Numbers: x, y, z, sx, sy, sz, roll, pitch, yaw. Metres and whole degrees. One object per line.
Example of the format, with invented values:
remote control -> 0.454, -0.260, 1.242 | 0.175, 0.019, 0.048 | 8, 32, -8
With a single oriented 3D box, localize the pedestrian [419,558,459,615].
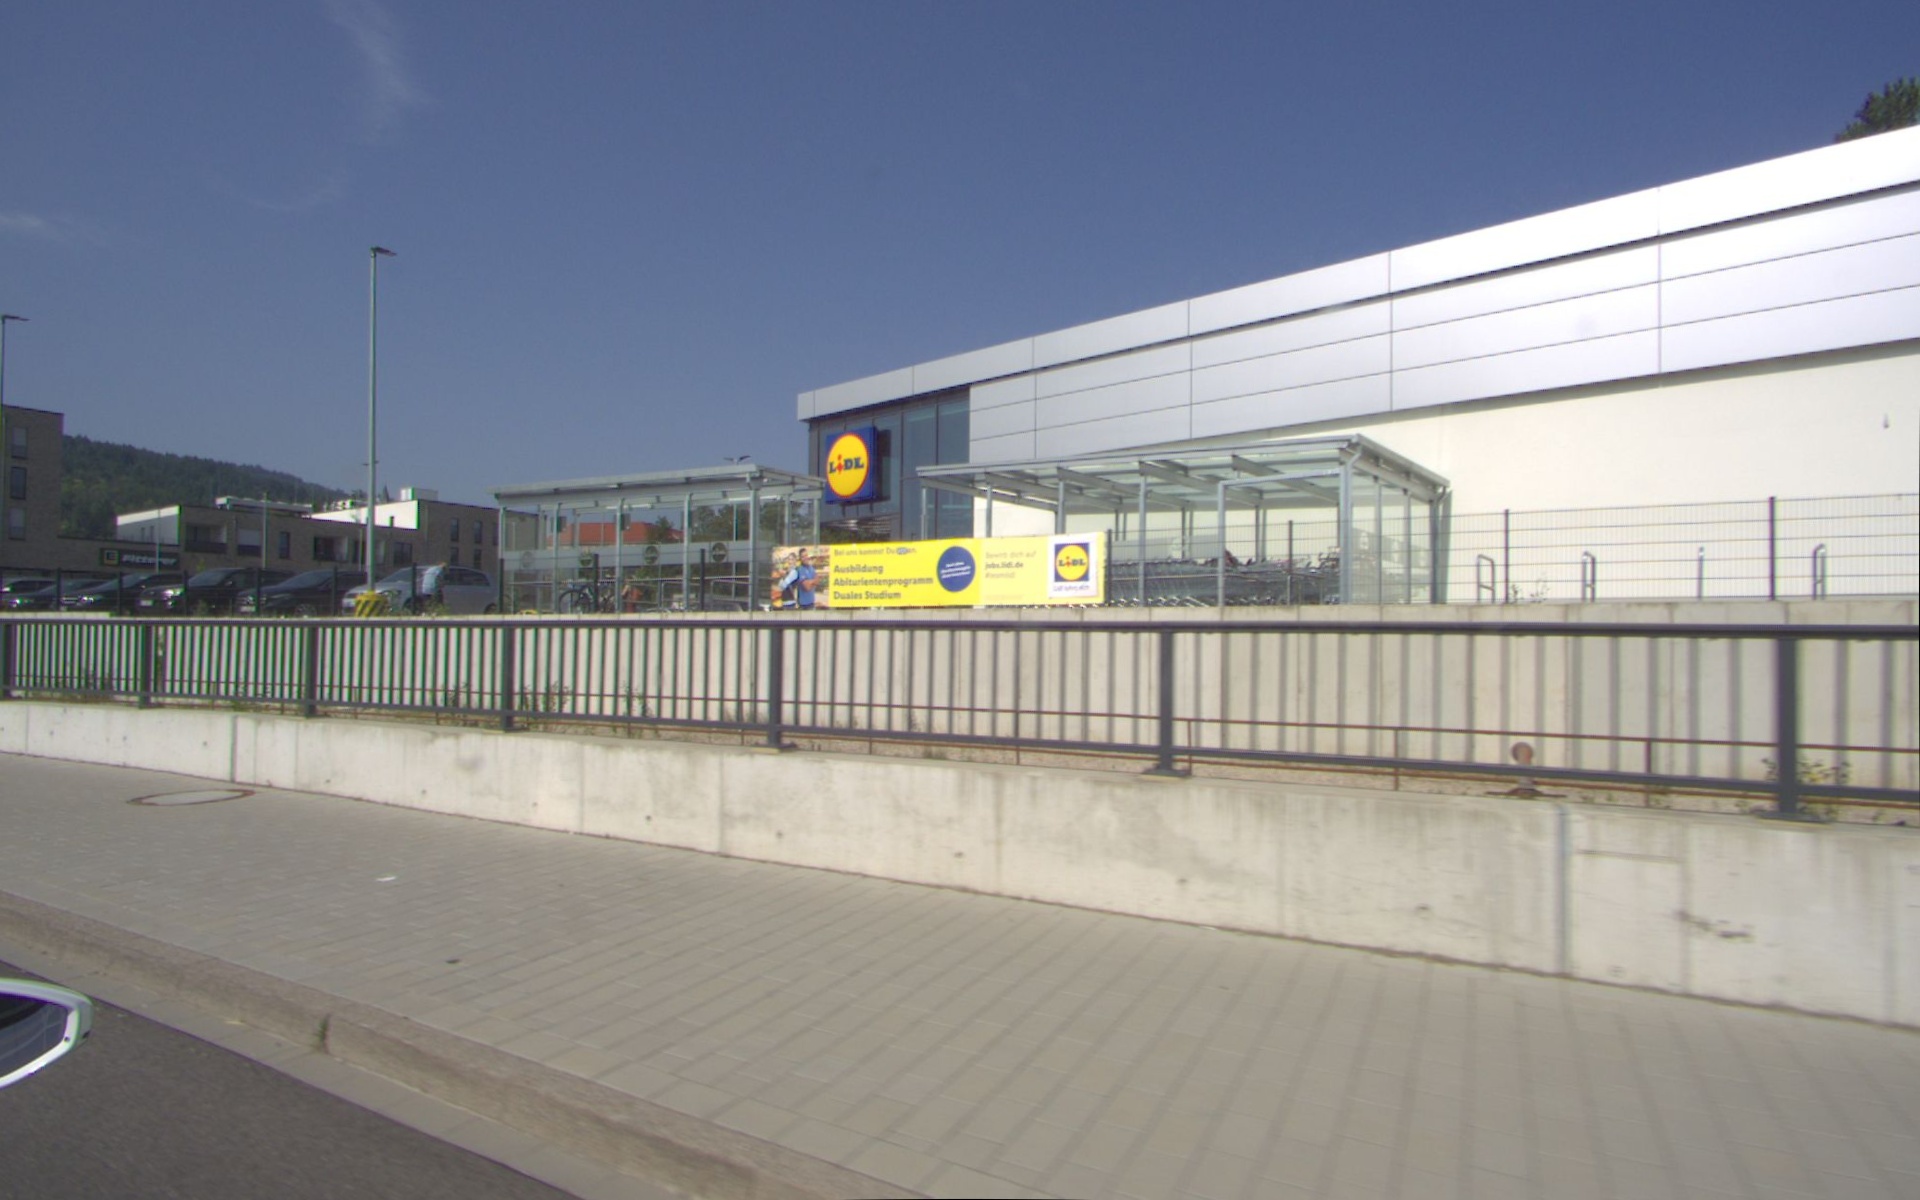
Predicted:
pedestrian -> -12.566, -0.319, 24.158 | 0.645, 1.328, 0.548 | 0, -2, 22

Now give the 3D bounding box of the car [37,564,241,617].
car -> -23.332, -0.227, 28.676 | 1.713, 1.261, 4.222 | 1, -2, 19

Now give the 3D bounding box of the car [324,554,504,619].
car -> -13.520, -0.283, 25.046 | 1.651, 1.381, 3.813 | 1, -2, 19

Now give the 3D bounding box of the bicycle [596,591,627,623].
bicycle -> -10.237, 0.219, 29.426 | 0.666, 0.912, 0.534 | 0, -1, 14

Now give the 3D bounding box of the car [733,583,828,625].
car -> -7.599, 0.208, 42.425 | 3.644, 1.673, 1.620 | -1, -2, 22

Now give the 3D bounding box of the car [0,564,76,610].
car -> -30.847, -0.441, 31.654 | 1.631, 1.359, 4.044 | 1, -2, 20

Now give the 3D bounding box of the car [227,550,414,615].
car -> -16.591, -0.395, 26.217 | 1.459, 1.422, 4.070 | 1, -2, 19

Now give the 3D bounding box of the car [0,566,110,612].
car -> -28.688, -0.351, 30.278 | 1.635, 1.261, 4.287 | 1, -2, 19

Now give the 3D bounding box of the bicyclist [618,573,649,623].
bicyclist -> -9.547, -0.043, 29.284 | 0.710, 1.441, 0.431 | 0, -1, 14

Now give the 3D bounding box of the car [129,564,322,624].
car -> -20.010, -0.111, 27.493 | 1.694, 1.422, 4.013 | 1, -2, 19

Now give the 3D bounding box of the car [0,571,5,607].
car -> -33.818, -0.456, 32.592 | 1.684, 1.214, 3.562 | 1, -2, 20

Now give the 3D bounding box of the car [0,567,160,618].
car -> -26.134, -0.174, 29.285 | 1.699, 1.261, 3.974 | 1, -2, 19
